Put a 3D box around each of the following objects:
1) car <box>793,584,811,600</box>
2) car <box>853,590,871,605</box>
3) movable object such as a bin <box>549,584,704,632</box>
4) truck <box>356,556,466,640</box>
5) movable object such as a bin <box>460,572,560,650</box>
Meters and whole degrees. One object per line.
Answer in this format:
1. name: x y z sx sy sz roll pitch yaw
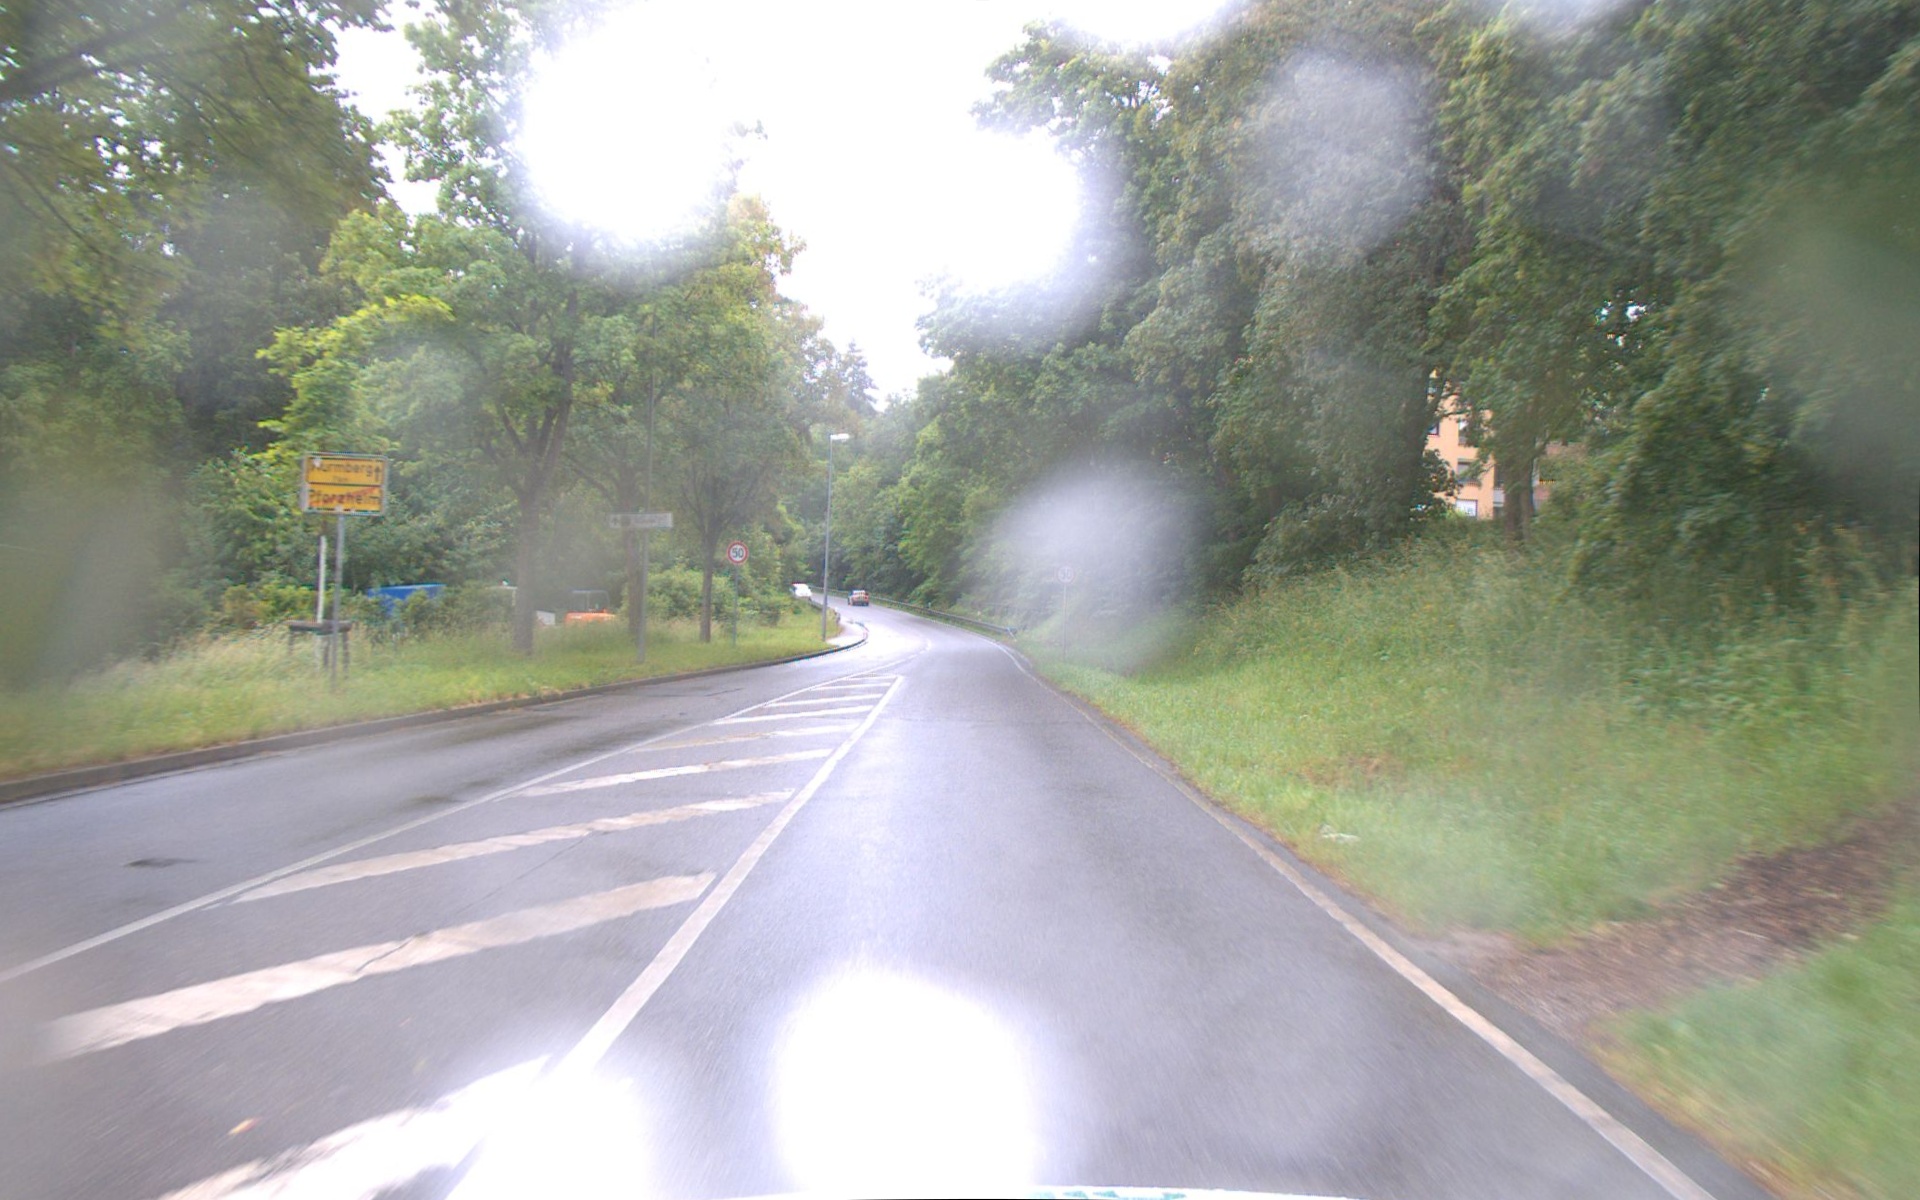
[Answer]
1. car: -17.283 -0.894 181.243 1.778 1.677 4.128 0 0 -4
2. car: -10.106 -0.268 170.533 1.702 1.537 3.998 0 1 -3
3. movable object such as a bin: -14.299 0.372 71.608 1.812 1.941 7.892 1 0 30
4. truck: -17.650 -0.086 53.444 1.954 2.501 5.220 2 1 -3
5. movable object such as a bin: -17.552 0.437 64.700 1.951 2.911 4.003 2 -1 14
